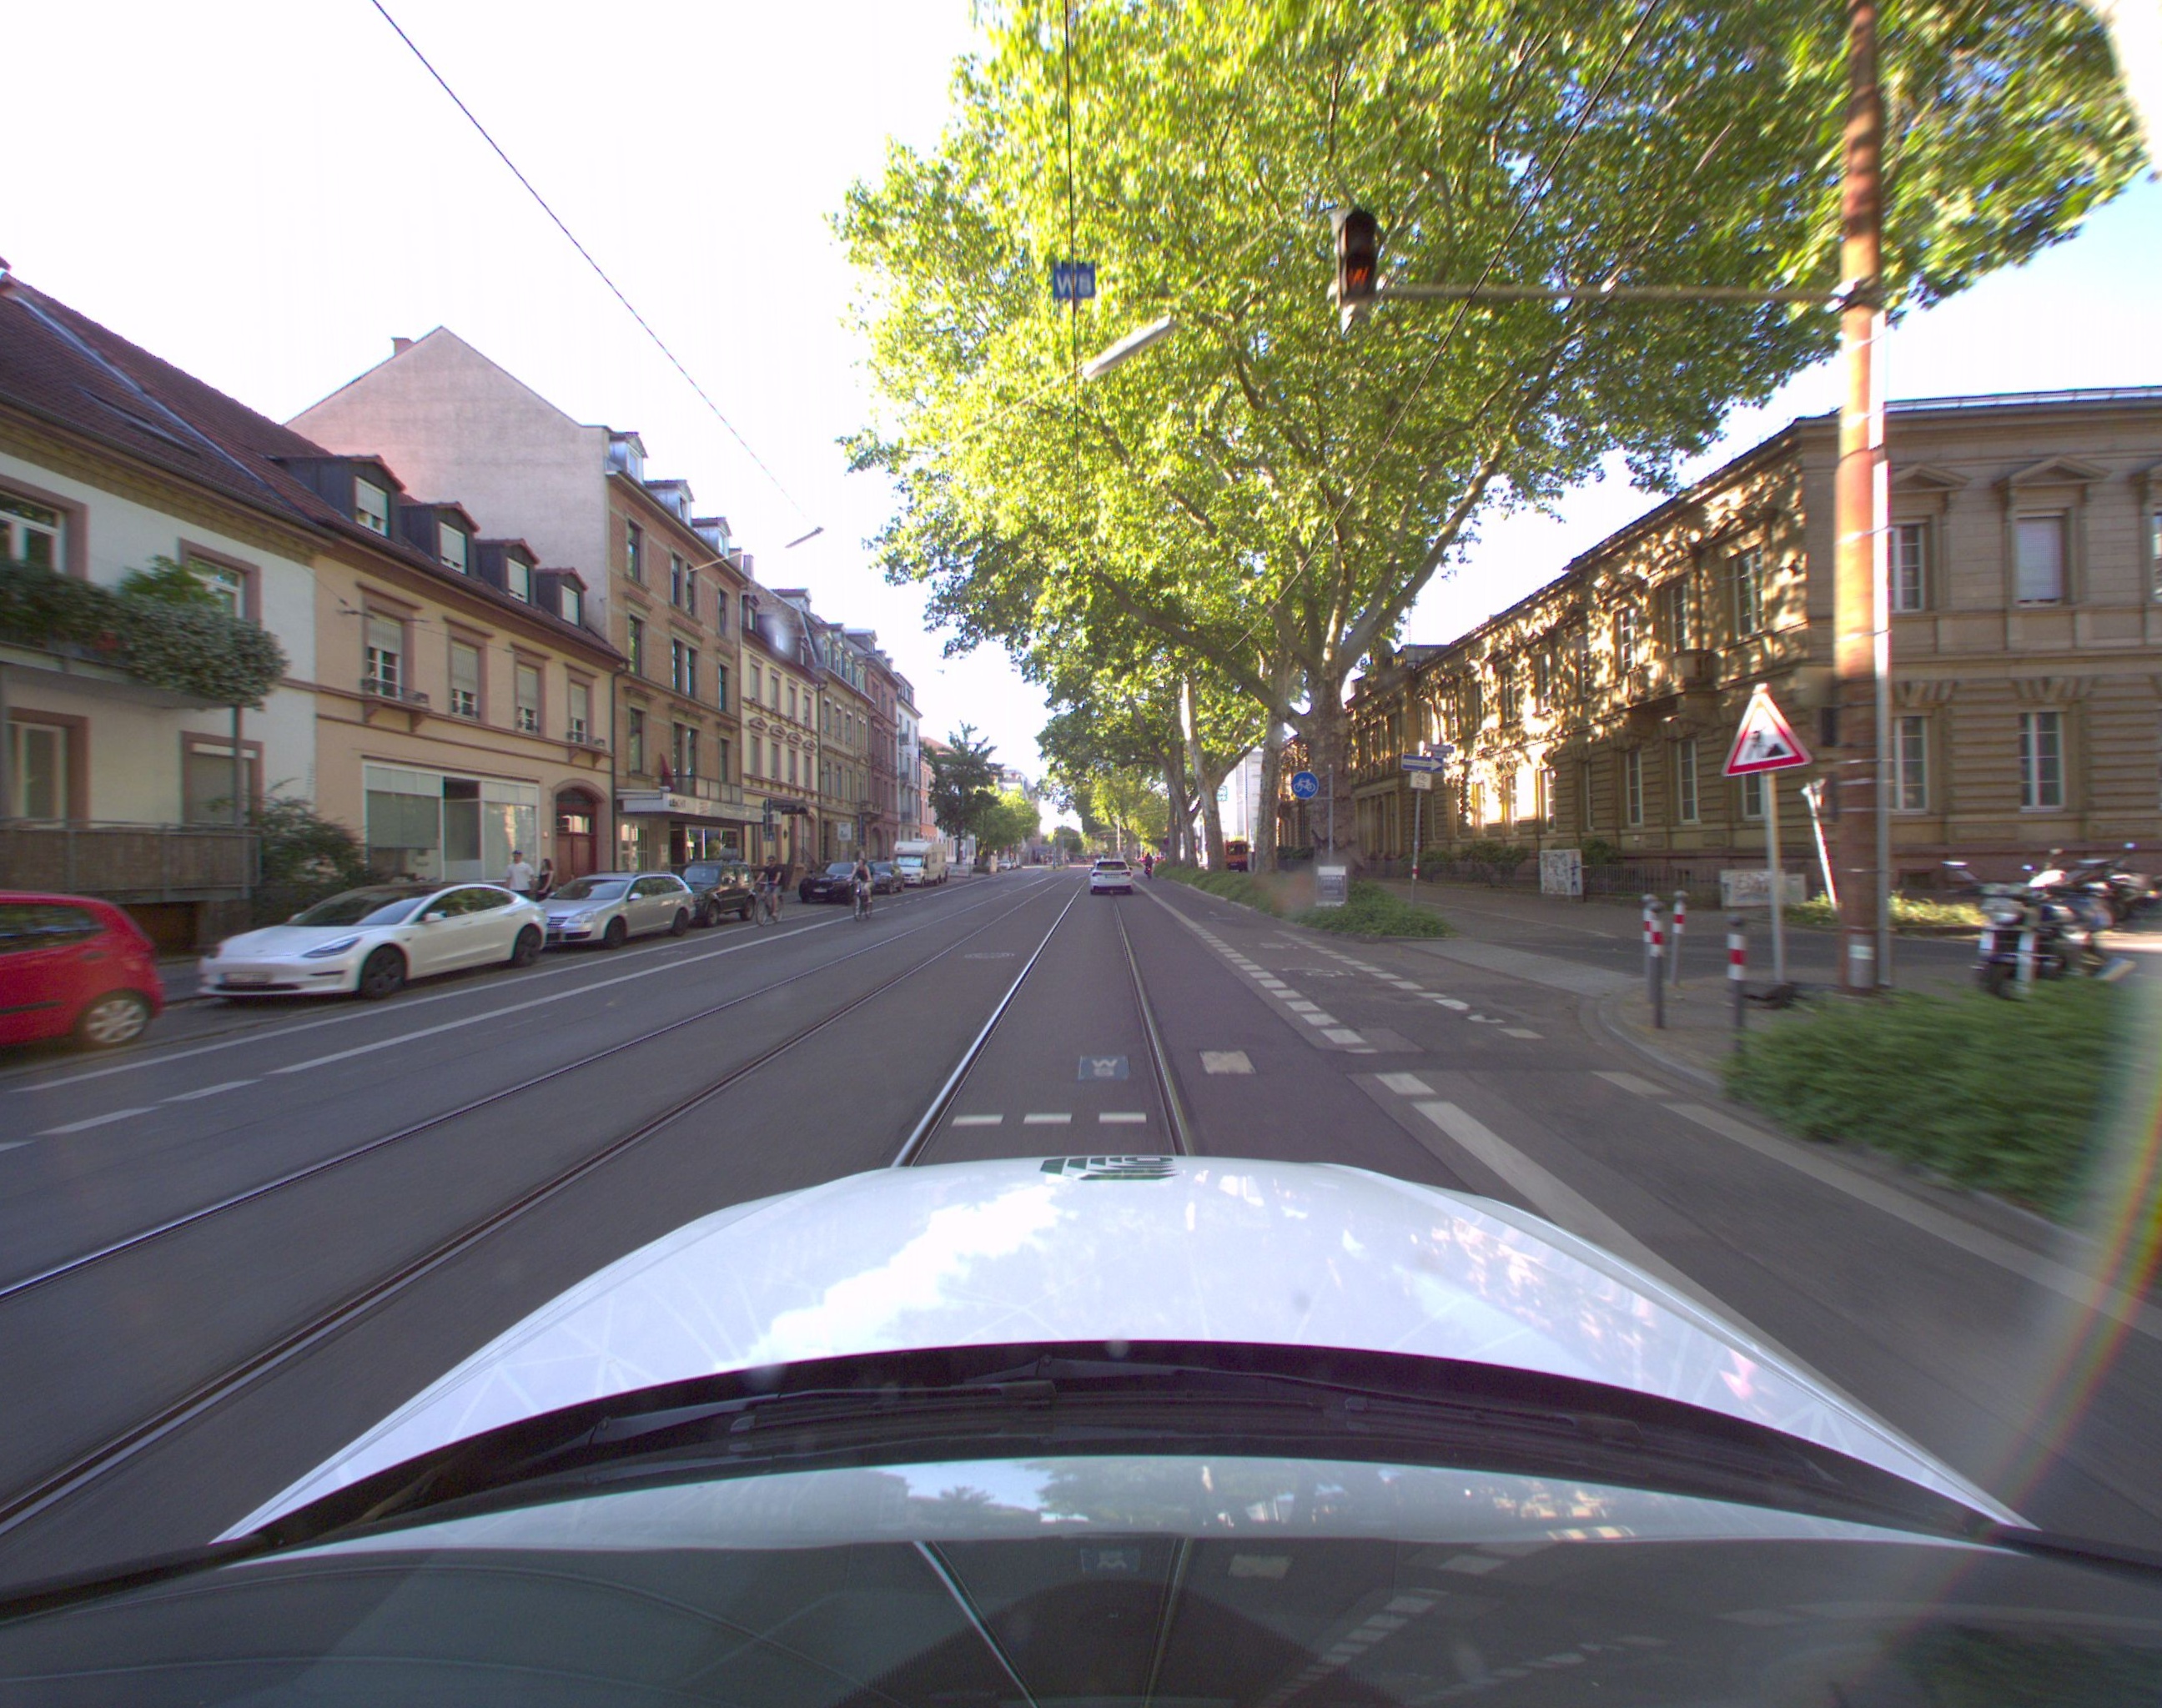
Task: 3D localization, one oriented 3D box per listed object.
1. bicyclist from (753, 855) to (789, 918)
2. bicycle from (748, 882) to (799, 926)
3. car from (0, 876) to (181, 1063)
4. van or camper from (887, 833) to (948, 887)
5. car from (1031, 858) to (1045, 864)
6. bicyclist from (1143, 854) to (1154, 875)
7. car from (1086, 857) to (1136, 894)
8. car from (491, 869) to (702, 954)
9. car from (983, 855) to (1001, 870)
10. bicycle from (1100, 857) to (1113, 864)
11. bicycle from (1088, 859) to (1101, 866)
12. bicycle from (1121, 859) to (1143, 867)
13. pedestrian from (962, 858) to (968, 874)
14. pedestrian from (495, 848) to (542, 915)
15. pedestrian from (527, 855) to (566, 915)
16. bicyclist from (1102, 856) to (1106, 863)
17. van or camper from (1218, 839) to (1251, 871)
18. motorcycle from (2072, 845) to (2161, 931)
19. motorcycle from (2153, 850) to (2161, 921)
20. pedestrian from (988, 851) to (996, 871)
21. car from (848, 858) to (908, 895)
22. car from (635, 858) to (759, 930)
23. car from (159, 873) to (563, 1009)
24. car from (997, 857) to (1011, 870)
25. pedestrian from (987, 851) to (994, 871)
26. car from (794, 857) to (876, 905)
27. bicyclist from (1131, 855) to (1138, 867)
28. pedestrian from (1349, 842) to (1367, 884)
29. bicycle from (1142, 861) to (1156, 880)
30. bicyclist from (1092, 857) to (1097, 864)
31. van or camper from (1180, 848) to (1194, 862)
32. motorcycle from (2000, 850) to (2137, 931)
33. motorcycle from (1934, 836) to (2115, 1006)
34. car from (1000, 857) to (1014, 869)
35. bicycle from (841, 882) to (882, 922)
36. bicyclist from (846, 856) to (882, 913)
[{"bbox_3d":[-8.290,0.862,21.808,0.533,1.634,0.897,-3,-1,2],"label":"bicyclist"},{"bbox_3d":[-8.240,1.321,21.885,0.483,1.047,2.040,-3,0,2],"label":"bicycle"},{"bbox_3d":[-10.079,1.026,6.611,1.562,1.562,3.453,-1,0,4],"label":"car"},{"bbox_3d":[-10.202,0.362,51.476,2.208,3.140,7.117,0,0,2],"label":"van or camper"},{"bbox_3d":[-12.309,1.996,235.630,3.774,1.818,1.807,0,-1,6],"label":"car"},{"bbox_3d":[4.291,0.663,51.805,0.676,1.339,0.525,0,-1,0],"label":"bicyclist"},{"bbox_3d":[1.197,0.865,33.979,1.837,1.480,3.835,0,-1,-2],"label":"car"},{"bbox_3d":[-9.977,1.102,17.272,1.821,1.502,4.448,0,0,0],"label":"car"},{"bbox_3d":[-10.430,1.034,95.596,1.636,1.726,3.782,0,0,-1],"label":"car"},{"bbox_3d":[5.206,1.392,164.921,2.700,1.327,0.609,-1,0,-34],"label":"bicycle"},{"bbox_3d":[2.636,1.631,163.262,2.700,1.327,0.609,-1,0,-34],"label":"bicycle"},{"bbox_3d":[6.529,1.173,104.918,2.749,0.999,0.595,0,-1,14],"label":"bicycle"},{"bbox_3d":[-12.980,1.357,91.364,0.599,1.773,0.700,0,-1,-3],"label":"pedestrian"},{"bbox_3d":[-13.987,0.672,20.263,0.773,1.634,0.654,0,-1,-16],"label":"pedestrian"},{"bbox_3d":[-13.296,0.761,20.274,0.636,1.460,0.653,0,-1,-16],"label":"pedestrian"},{"bbox_3d":[4.598,1.126,164.501,0.635,1.522,0.603,-2,0,-34],"label":"bicyclist"},{"bbox_3d":[12.460,0.114,66.410,2.019,2.464,5.111,0,0,2],"label":"van or camper"},{"bbox_3d":[18.638,0.568,14.175,0.563,1.431,2.296,0,0,16],"label":"motorcycle"},{"bbox_3d":[19.651,0.572,13.921,0.490,1.296,2.193,0,0,20],"label":"motorcycle"},{"bbox_3d":[-9.328,0.725,85.233,0.643,2.002,0.750,0,-1,5],"label":"pedestrian"},{"bbox_3d":[-10.285,1.092,41.600,1.958,1.781,4.468,0,0,-1],"label":"car"},{"bbox_3d":[-10.104,0.985,21.729,1.551,1.732,3.684,0,0,0],"label":"car"},{"bbox_3d":[-9.943,1.073,11.924,1.822,1.502,4.685,0,0,-2],"label":"car"},{"bbox_3d":[-10.873,1.309,115.193,1.789,1.726,3.782,0,0,-1],"label":"car"},{"bbox_3d":[-9.385,0.726,84.182,0.598,2.002,0.750,0,-1,5],"label":"pedestrian"},{"bbox_3d":[-10.069,1.064,33.754,1.959,1.781,4.935,2,0,-1],"label":"car"},{"bbox_3d":[6.873,0.888,104.837,0.731,1.589,0.589,-2,-1,12],"label":"bicyclist"},{"bbox_3d":[11.106,0.352,32.656,0.642,1.633,0.876,0,-1,20],"label":"pedestrian"},{"bbox_3d":[4.309,1.041,51.797,0.677,1.155,2.964,0,0,1],"label":"bicycle"},{"bbox_3d":[2.660,1.284,163.279,0.635,1.522,0.603,-2,0,-34],"label":"bicyclist"},{"bbox_3d":[17.162,0.178,131.974,1.986,2.343,4.001,0,-1,1],"label":"van or camper"},{"bbox_3d":[17.399,0.592,14.429,0.490,1.296,2.193,0,1,20],"label":"motorcycle"},{"bbox_3d":[7.708,0.494,6.623,2.176,1.228,0.470,0,-1,-28],"label":"motorcycle"},{"bbox_3d":[-10.883,1.359,120.283,1.789,1.726,3.782,0,0,-1],"label":"car"},{"bbox_3d":[-5.921,1.286,22.070,0.497,0.943,1.922,-3,0,2],"label":"bicycle"},{"bbox_3d":[-5.942,0.824,22.330,0.636,1.503,1.070,-2,-1,1],"label":"bicyclist"}]
